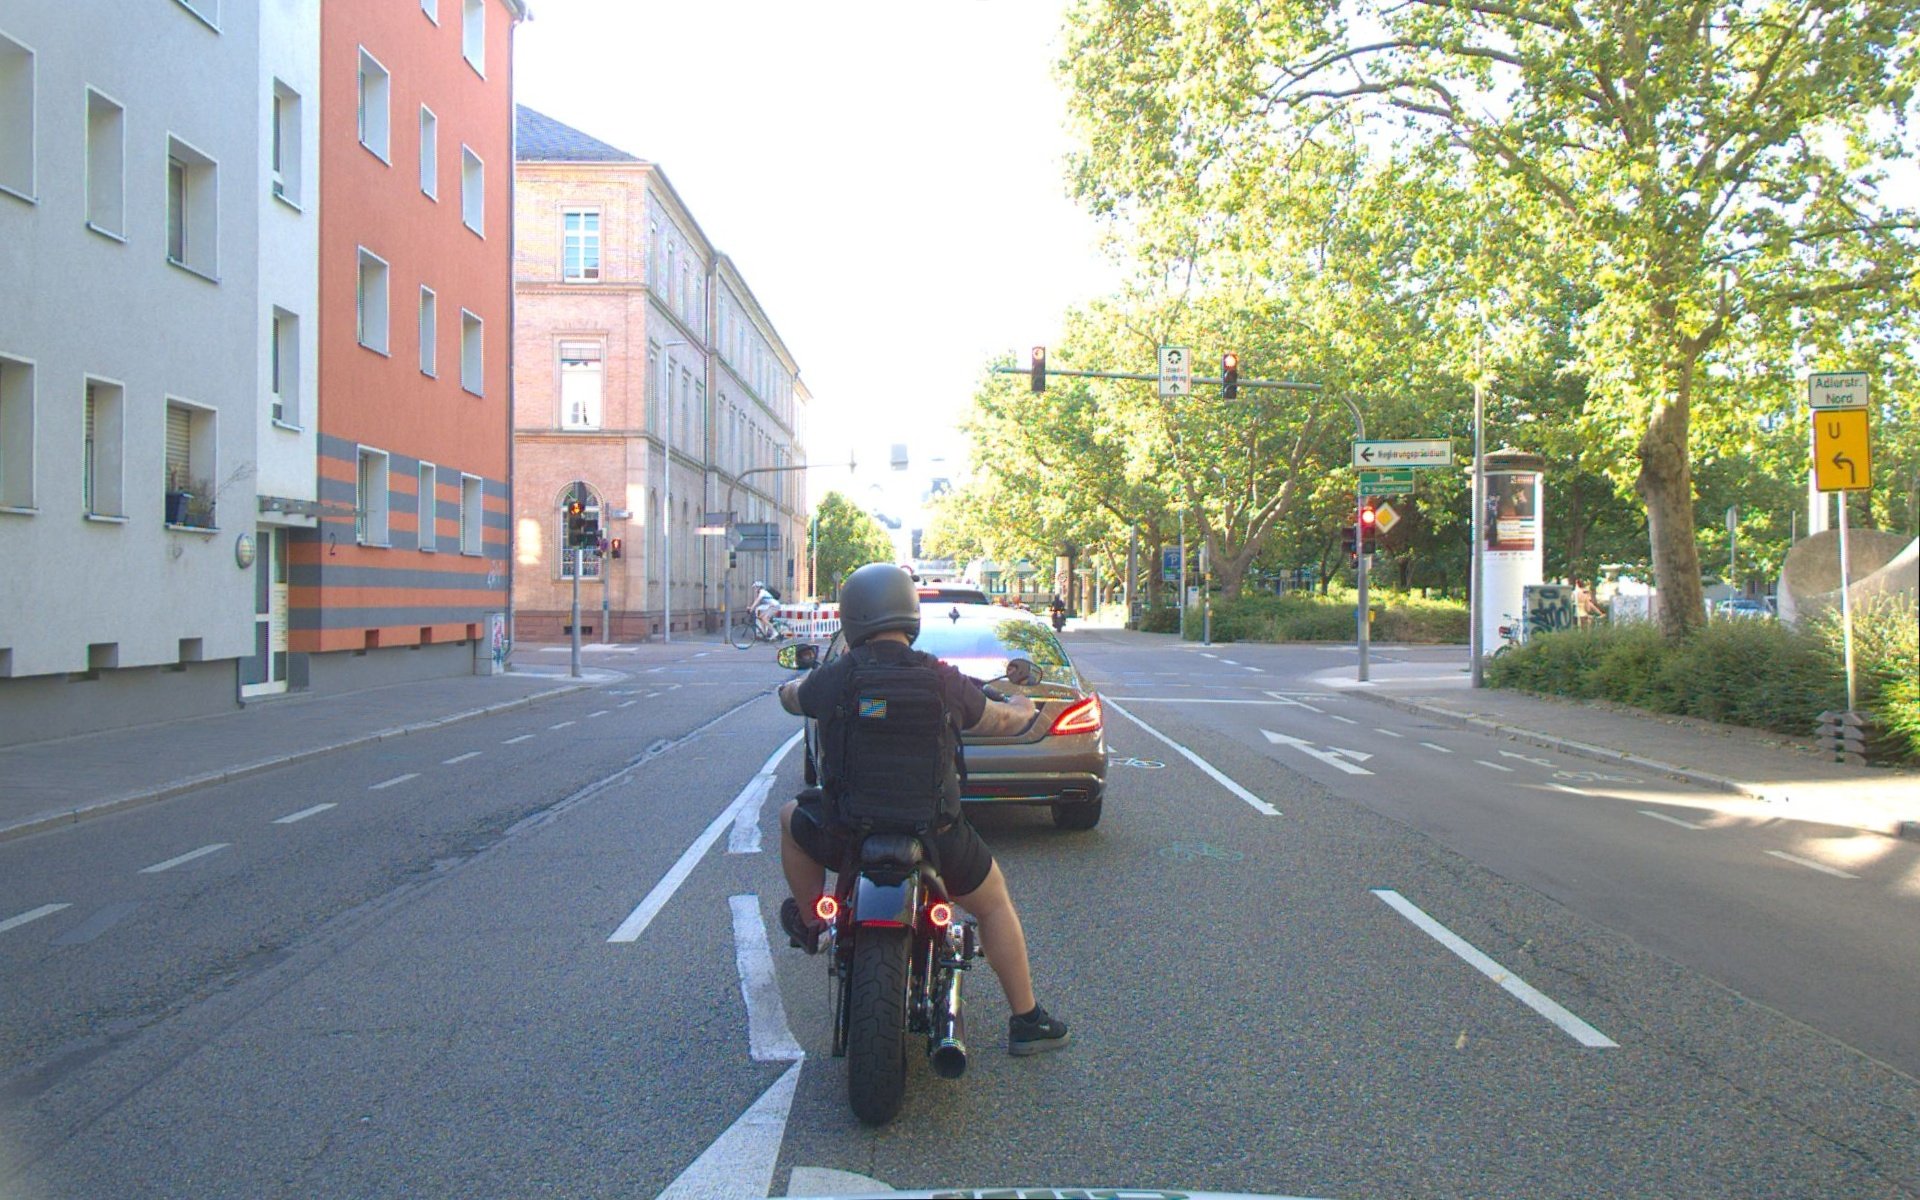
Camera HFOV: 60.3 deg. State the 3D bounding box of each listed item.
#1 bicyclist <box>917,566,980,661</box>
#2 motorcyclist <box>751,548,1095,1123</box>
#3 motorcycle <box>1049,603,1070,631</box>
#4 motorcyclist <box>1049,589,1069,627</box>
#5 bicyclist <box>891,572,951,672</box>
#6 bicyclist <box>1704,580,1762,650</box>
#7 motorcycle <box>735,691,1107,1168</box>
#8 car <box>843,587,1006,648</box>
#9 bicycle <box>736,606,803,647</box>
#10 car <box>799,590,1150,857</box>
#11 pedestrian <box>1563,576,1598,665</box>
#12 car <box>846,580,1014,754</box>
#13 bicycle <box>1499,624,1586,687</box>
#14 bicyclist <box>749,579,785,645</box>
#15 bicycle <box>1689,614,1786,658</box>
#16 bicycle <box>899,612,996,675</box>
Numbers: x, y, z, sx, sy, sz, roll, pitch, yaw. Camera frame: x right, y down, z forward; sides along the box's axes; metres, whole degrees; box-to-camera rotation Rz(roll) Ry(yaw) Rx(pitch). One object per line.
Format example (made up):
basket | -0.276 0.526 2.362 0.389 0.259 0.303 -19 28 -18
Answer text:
bicyclist | -0.213 0.249 30.866 0.697 1.724 1.035 0 -1 -35
motorcyclist | -0.114 0.663 5.389 0.969 1.625 1.403 0 0 -1
motorcycle | 4.645 0.797 77.325 0.821 1.267 2.283 0 0 -1
motorcyclist | 4.631 0.369 77.347 0.821 1.732 1.180 0 0 -1
bicyclist | -0.689 0.370 28.963 0.696 1.722 0.955 0 0 -31
bicyclist | 18.612 0.355 39.844 1.017 1.642 0.767 0 3 0
motorcycle | -0.119 0.926 5.544 0.969 1.097 2.451 0 0 -1
car | -0.925 0.456 42.962 3.843 1.512 1.849 1 0 -23
bicycle | -5.192 0.719 45.178 1.798 1.124 0.611 0 0 -6
car | -0.114 0.684 11.584 1.909 1.498 4.355 0 0 -7
pedestrian | 13.243 0.426 35.306 0.540 1.881 0.593 0 0 0
car | -0.336 0.619 17.747 1.580 1.636 4.327 0 0 -2
bicycle | 9.736 0.925 27.654 1.324 1.041 0.363 0 0 0
bicyclist | -5.256 0.328 45.172 0.956 1.773 0.609 0 0 -6
bicycle | 18.727 0.856 39.867 1.965 0.997 0.767 0 3 0
bicycle | -0.253 0.799 30.892 0.697 1.123 2.136 0 -1 -36
